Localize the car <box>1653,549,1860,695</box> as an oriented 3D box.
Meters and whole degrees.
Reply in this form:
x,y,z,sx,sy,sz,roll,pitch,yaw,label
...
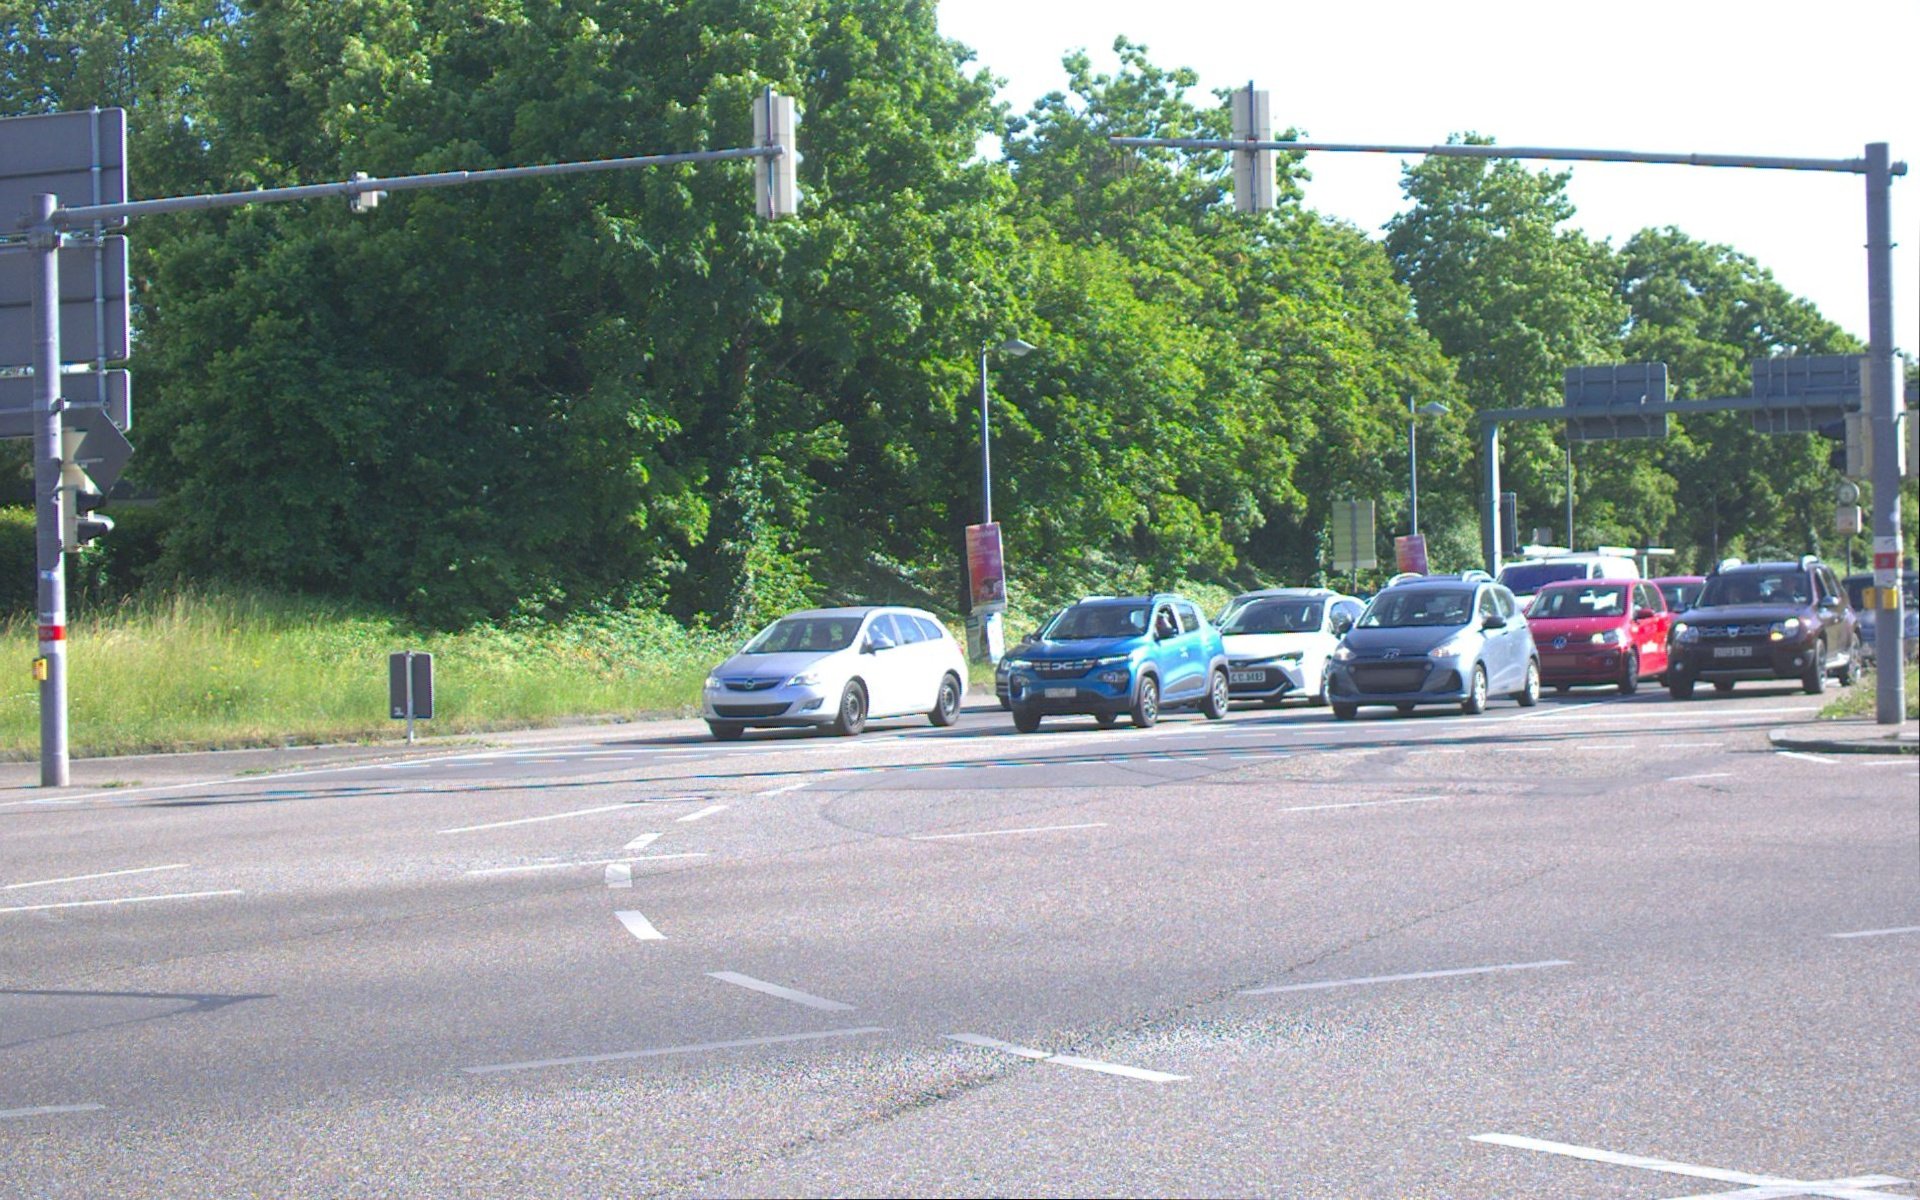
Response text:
x,y,z,sx,sy,sz,roll,pitch,yaw,label
9.724,0.240,41.766,1.795,1.621,4.139,-2,0,22,car

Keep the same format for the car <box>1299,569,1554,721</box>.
x,y,z,sx,sy,sz,roll,pitch,yaw,label
5.373,0.482,39.188,1.876,1.545,4.023,-3,0,22,car

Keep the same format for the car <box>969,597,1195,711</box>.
x,y,z,sx,sy,sz,roll,pitch,yaw,label
1.799,0.748,49.356,1.887,1.508,3.995,-2,0,23,car

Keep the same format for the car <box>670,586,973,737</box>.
x,y,z,sx,sy,sz,roll,pitch,yaw,label
-1.564,0.695,40.565,1.879,1.646,4.213,-2,-1,23,car

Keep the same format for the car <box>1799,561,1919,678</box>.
x,y,z,sx,sy,sz,roll,pitch,yaw,label
13.113,0.242,48.443,1.887,1.538,3.995,-2,0,22,car

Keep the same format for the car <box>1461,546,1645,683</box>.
x,y,z,sx,sy,sz,roll,pitch,yaw,label
9.946,0.216,57.364,1.963,2.148,5.076,-1,0,22,car

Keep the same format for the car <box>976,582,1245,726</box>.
x,y,z,sx,sy,sz,roll,pitch,yaw,label
1.780,0.584,39.453,1.803,1.510,3.854,-2,-1,23,car

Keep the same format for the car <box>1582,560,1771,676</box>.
x,y,z,sx,sy,sz,roll,pitch,yaw,label
10.544,0.258,50.379,1.903,1.624,3.995,-1,0,24,car

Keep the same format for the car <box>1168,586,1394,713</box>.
x,y,z,sx,sy,sz,roll,pitch,yaw,label
4.258,0.621,45.075,1.903,1.550,3.996,-2,0,21,car

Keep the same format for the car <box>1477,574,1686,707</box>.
x,y,z,sx,sy,sz,roll,pitch,yaw,label
8.159,0.503,44.883,1.877,1.547,3.996,-4,-1,21,car
